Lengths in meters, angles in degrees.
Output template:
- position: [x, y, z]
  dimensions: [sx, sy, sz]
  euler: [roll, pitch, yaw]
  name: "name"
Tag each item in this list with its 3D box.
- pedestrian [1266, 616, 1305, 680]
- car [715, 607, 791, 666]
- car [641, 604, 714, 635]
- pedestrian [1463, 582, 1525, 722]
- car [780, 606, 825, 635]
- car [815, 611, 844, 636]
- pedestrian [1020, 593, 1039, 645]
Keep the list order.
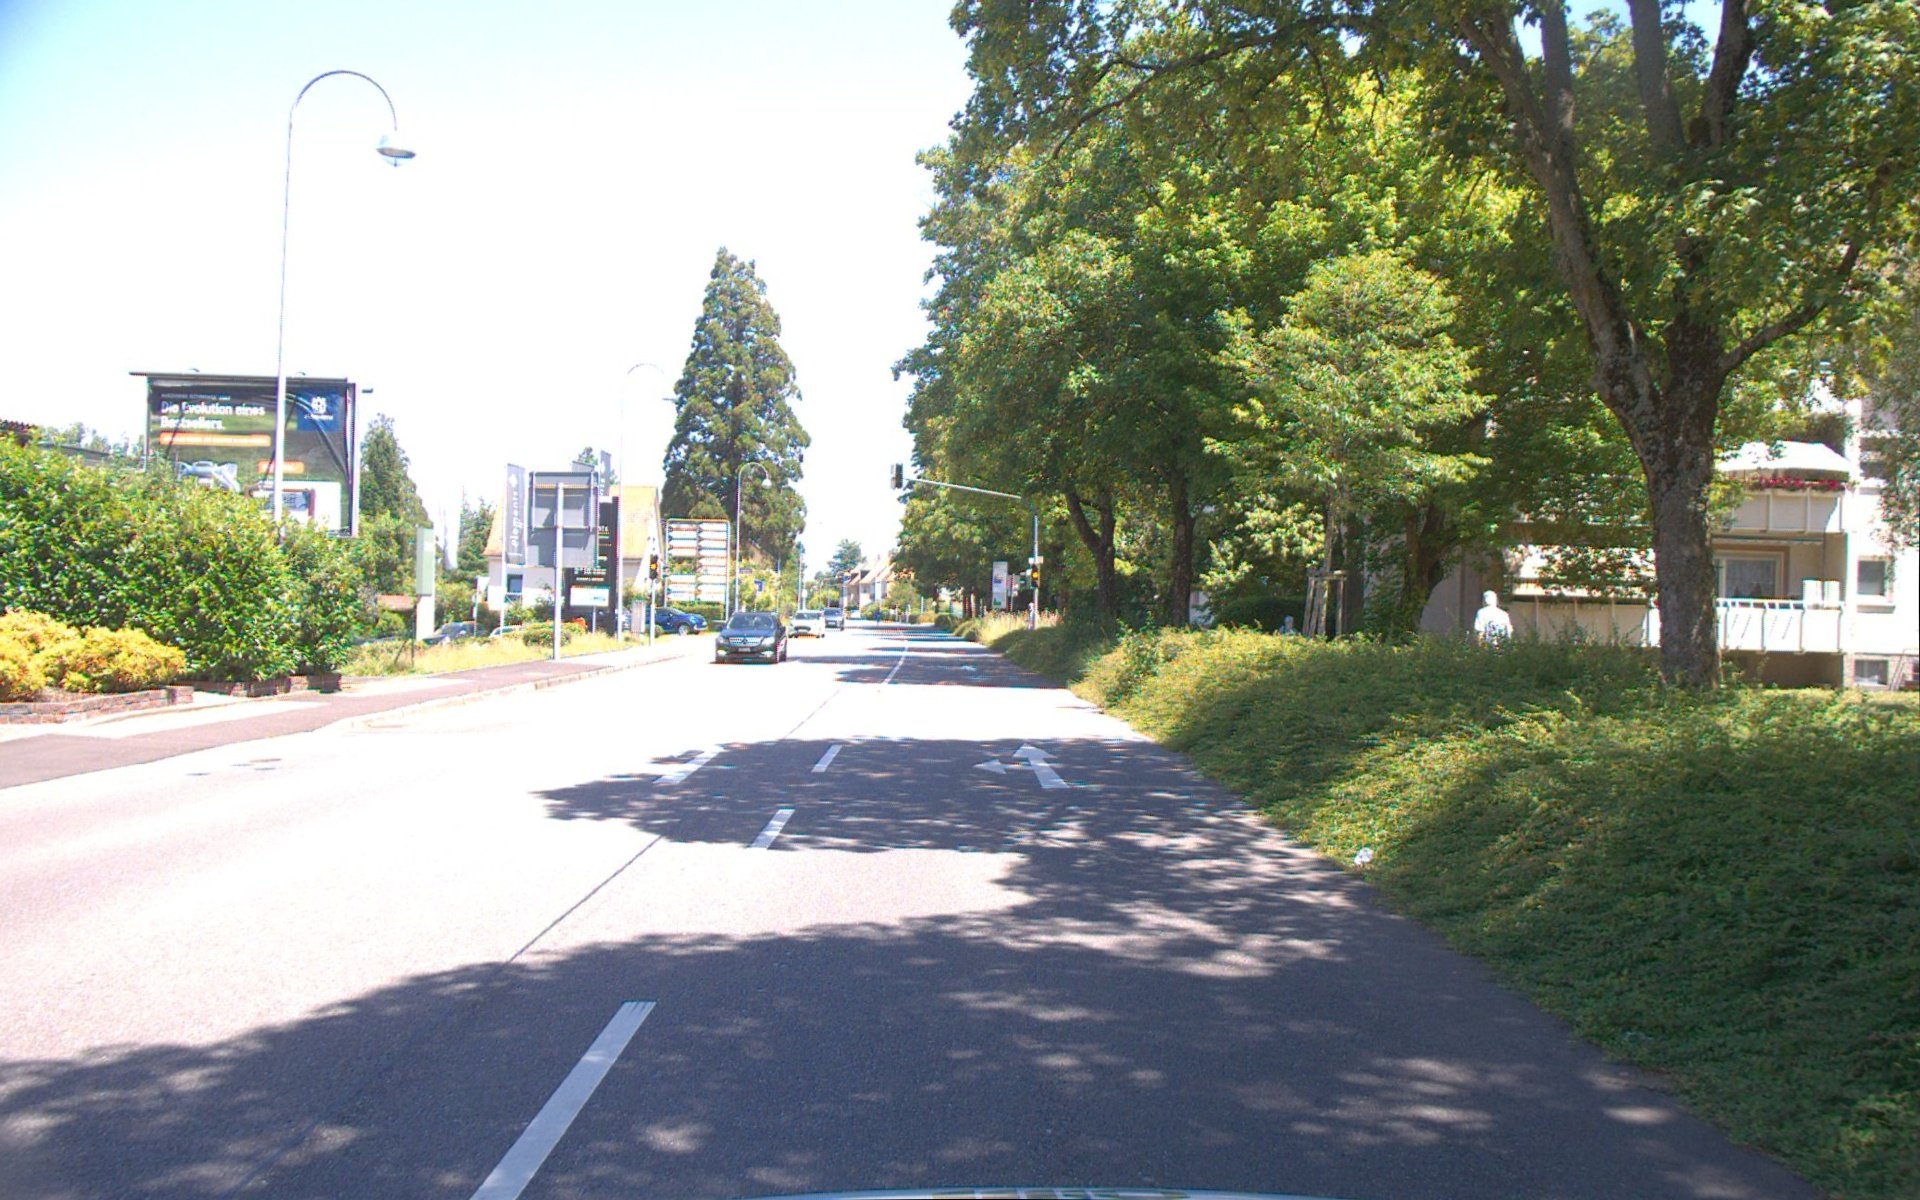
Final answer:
- position: [7.049, 1.031, 35.818]
  dimensions: [0.648, 1.358, 0.889]
  euler: [1, -1, 0]
  name: "pedestrian"
- position: [-5.853, 1.008, 47.182]
  dimensions: [1.675, 1.521, 4.276]
  euler: [1, 0, -1]
  name: "car"
- position: [-14.477, 0.999, 84.899]
  dimensions: [3.418, 1.452, 1.601]
  euler: [1, -1, 3]
  name: "car"
- position: [7.622, 0.734, 23.620]
  dimensions: [0.689, 1.948, 0.660]
  euler: [1, -1, 3]
  name: "pedestrian"
- position: [-8.535, 1.083, 89.962]
  dimensions: [1.953, 1.514, 4.309]
  euler: [1, 0, 0]
  name: "car"
- position: [-9.620, 1.738, 122.151]
  dimensions: [1.841, 1.748, 4.309]
  euler: [1, 0, -1]
  name: "car"
- position: [2.425, 0.661, 57.538]
  dimensions: [0.601, 1.782, 0.562]
  euler: [1, -1, -2]
  name: "pedestrian"
